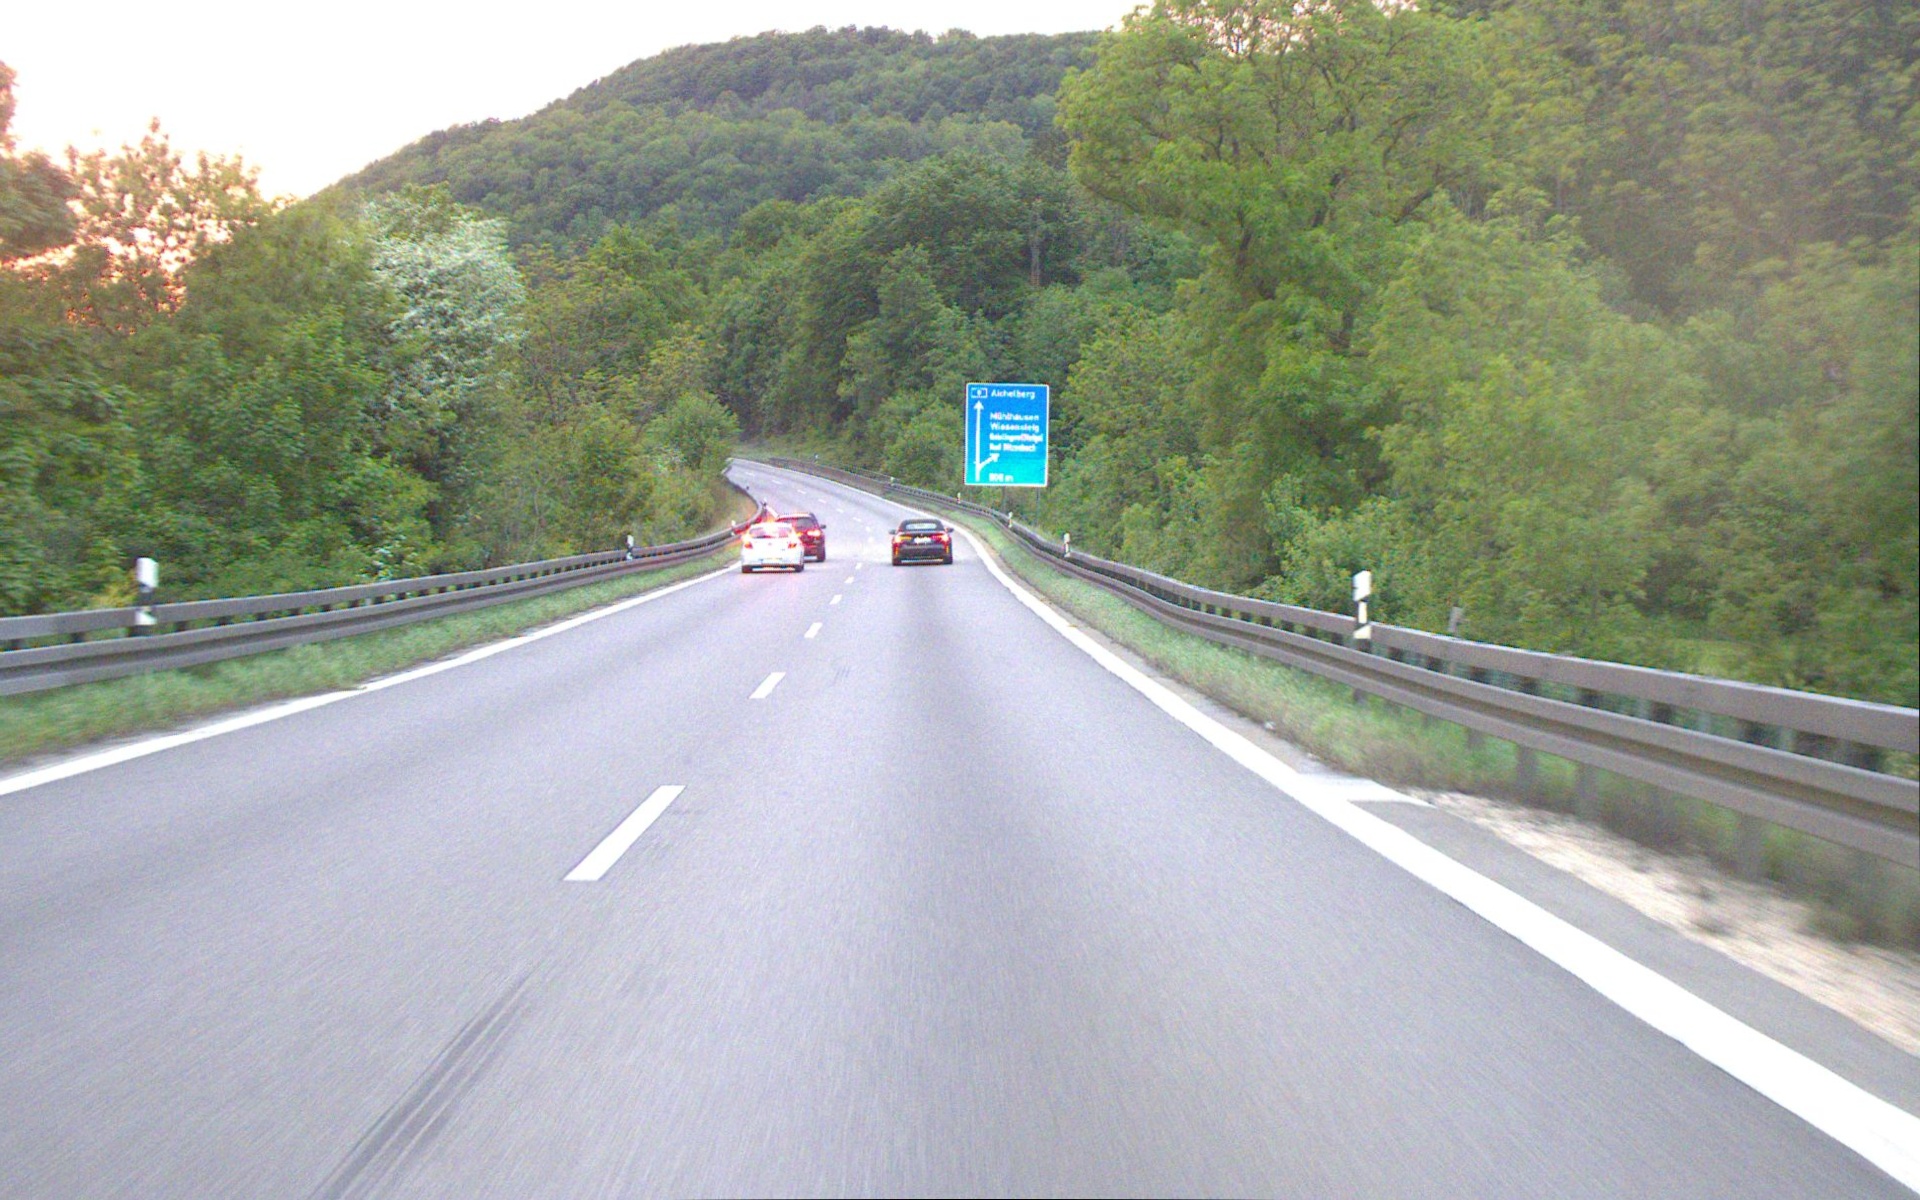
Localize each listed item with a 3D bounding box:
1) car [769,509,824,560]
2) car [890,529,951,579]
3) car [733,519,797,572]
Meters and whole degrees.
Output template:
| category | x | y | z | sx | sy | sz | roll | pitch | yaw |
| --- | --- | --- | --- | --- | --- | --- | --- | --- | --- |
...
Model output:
| category | x | y | z | sx | sy | sz | roll | pitch | yaw |
| --- | --- | --- | --- | --- | --- | --- | --- | --- | --- |
| car | -5.443 | -2.205 | 115.026 | 1.718 | 1.629 | 4.001 | 0 | 2 | -1 |
| car | -1.257 | -1.465 | 107.935 | 1.878 | 1.461 | 4.001 | 0 | 2 | -1 |
| car | -5.757 | -1.636 | 101.793 | 1.718 | 1.496 | 4.001 | 0 | 2 | -1 |
